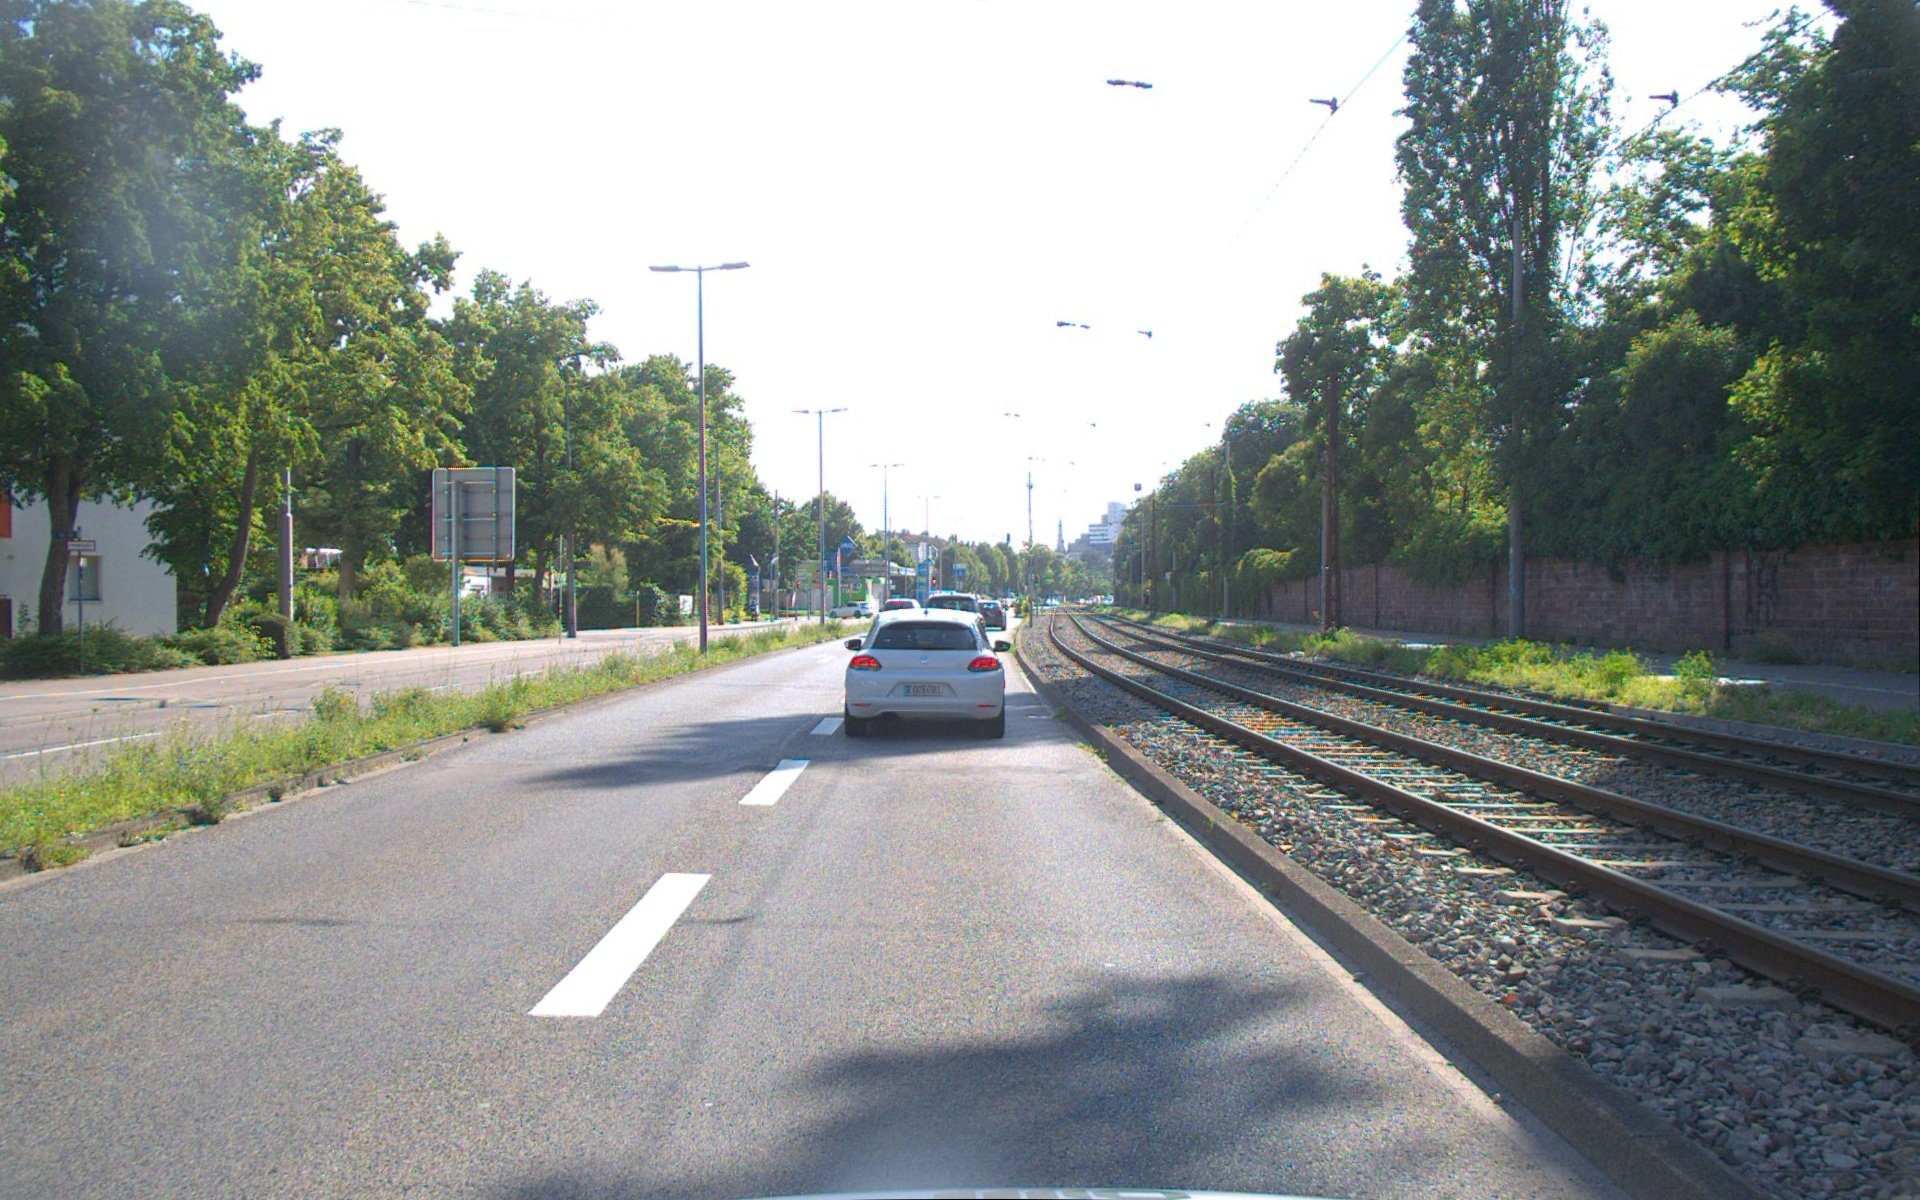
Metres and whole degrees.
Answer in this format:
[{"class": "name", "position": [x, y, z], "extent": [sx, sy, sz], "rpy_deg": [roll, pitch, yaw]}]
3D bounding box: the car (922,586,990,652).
[{"class": "car", "position": [-0.108, 0.464, 43.396], "extent": [1.689, 1.620, 3.601], "rpy_deg": [1, 0, 0]}]

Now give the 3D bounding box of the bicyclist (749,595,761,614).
[{"class": "bicyclist", "position": [-15.448, 0.333, 124.703], "extent": [0.647, 1.478, 1.051], "rpy_deg": [-1, 0, 7]}]

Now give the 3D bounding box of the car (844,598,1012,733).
[{"class": "car", "position": [-0.348, 0.685, 19.248], "extent": [1.744, 1.380, 3.601], "rpy_deg": [1, 0, 0]}]

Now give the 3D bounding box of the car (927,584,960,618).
[{"class": "car", "position": [-0.991, 0.082, 101.459], "extent": [1.780, 1.997, 4.403], "rpy_deg": [-1, 0, 2]}]

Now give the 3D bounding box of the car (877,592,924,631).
[{"class": "car", "position": [-2.389, 0.439, 67.365], "extent": [1.724, 1.511, 4.644], "rpy_deg": [1, 0, 0]}]

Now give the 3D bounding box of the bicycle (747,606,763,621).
[{"class": "bicycle", "position": [-15.436, 1.030, 124.634], "extent": [0.647, 1.068, 2.582], "rpy_deg": [-1, 0, 7]}]

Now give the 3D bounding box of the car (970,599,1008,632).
[{"class": "car", "position": [1.402, 0.754, 81.108], "extent": [1.713, 1.511, 3.601], "rpy_deg": [1, 0, 0]}]

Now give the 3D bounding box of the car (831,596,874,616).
[{"class": "car", "position": [-9.517, 0.513, 145.960], "extent": [3.529, 1.616, 1.692], "rpy_deg": [1, 0, 38]}]
